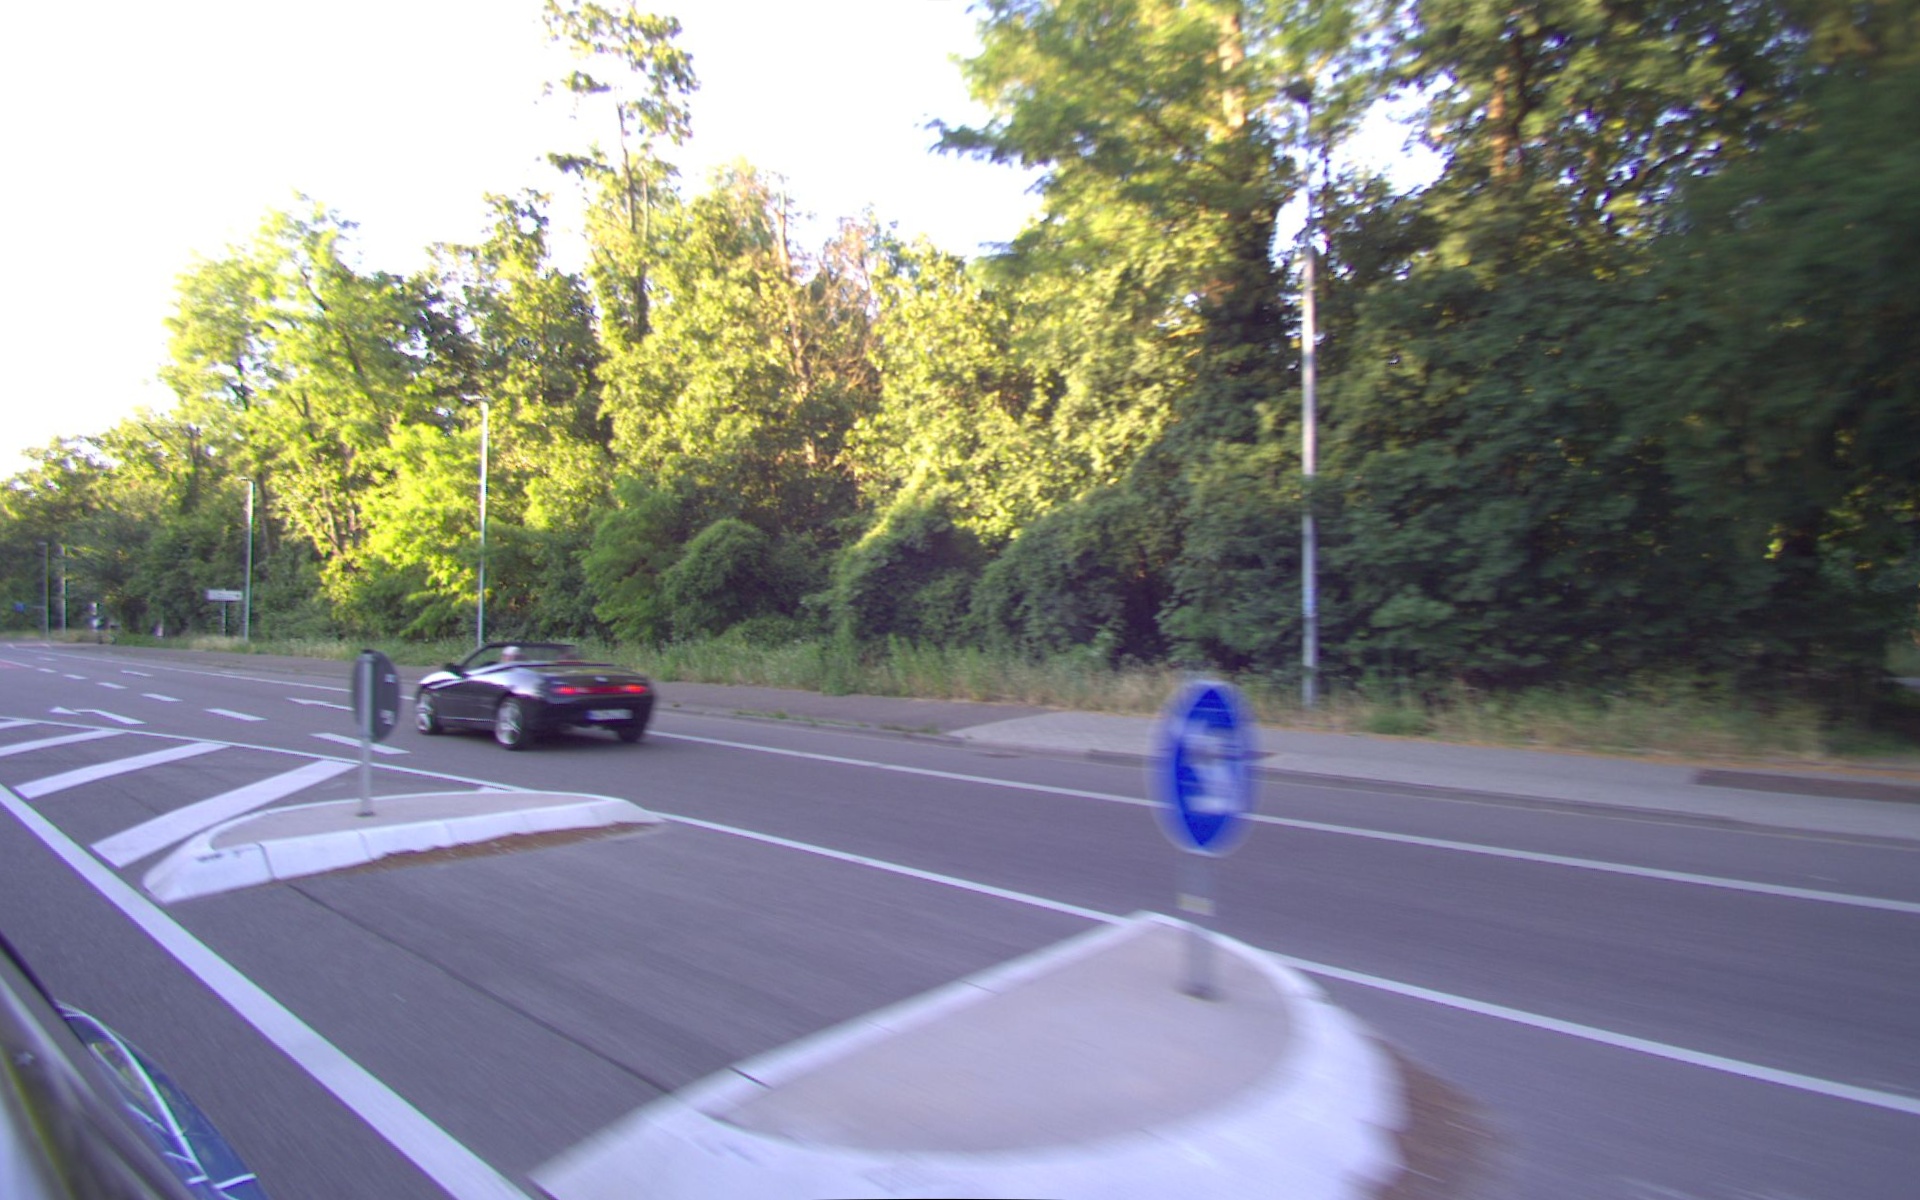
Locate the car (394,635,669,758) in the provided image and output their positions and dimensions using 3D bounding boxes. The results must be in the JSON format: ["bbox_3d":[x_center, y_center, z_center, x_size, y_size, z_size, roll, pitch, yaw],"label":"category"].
[{"bbox_3d":[-5.645,1.132,13.127,3.998,1.316,1.731,-1,-2,42],"label":"car"}]
